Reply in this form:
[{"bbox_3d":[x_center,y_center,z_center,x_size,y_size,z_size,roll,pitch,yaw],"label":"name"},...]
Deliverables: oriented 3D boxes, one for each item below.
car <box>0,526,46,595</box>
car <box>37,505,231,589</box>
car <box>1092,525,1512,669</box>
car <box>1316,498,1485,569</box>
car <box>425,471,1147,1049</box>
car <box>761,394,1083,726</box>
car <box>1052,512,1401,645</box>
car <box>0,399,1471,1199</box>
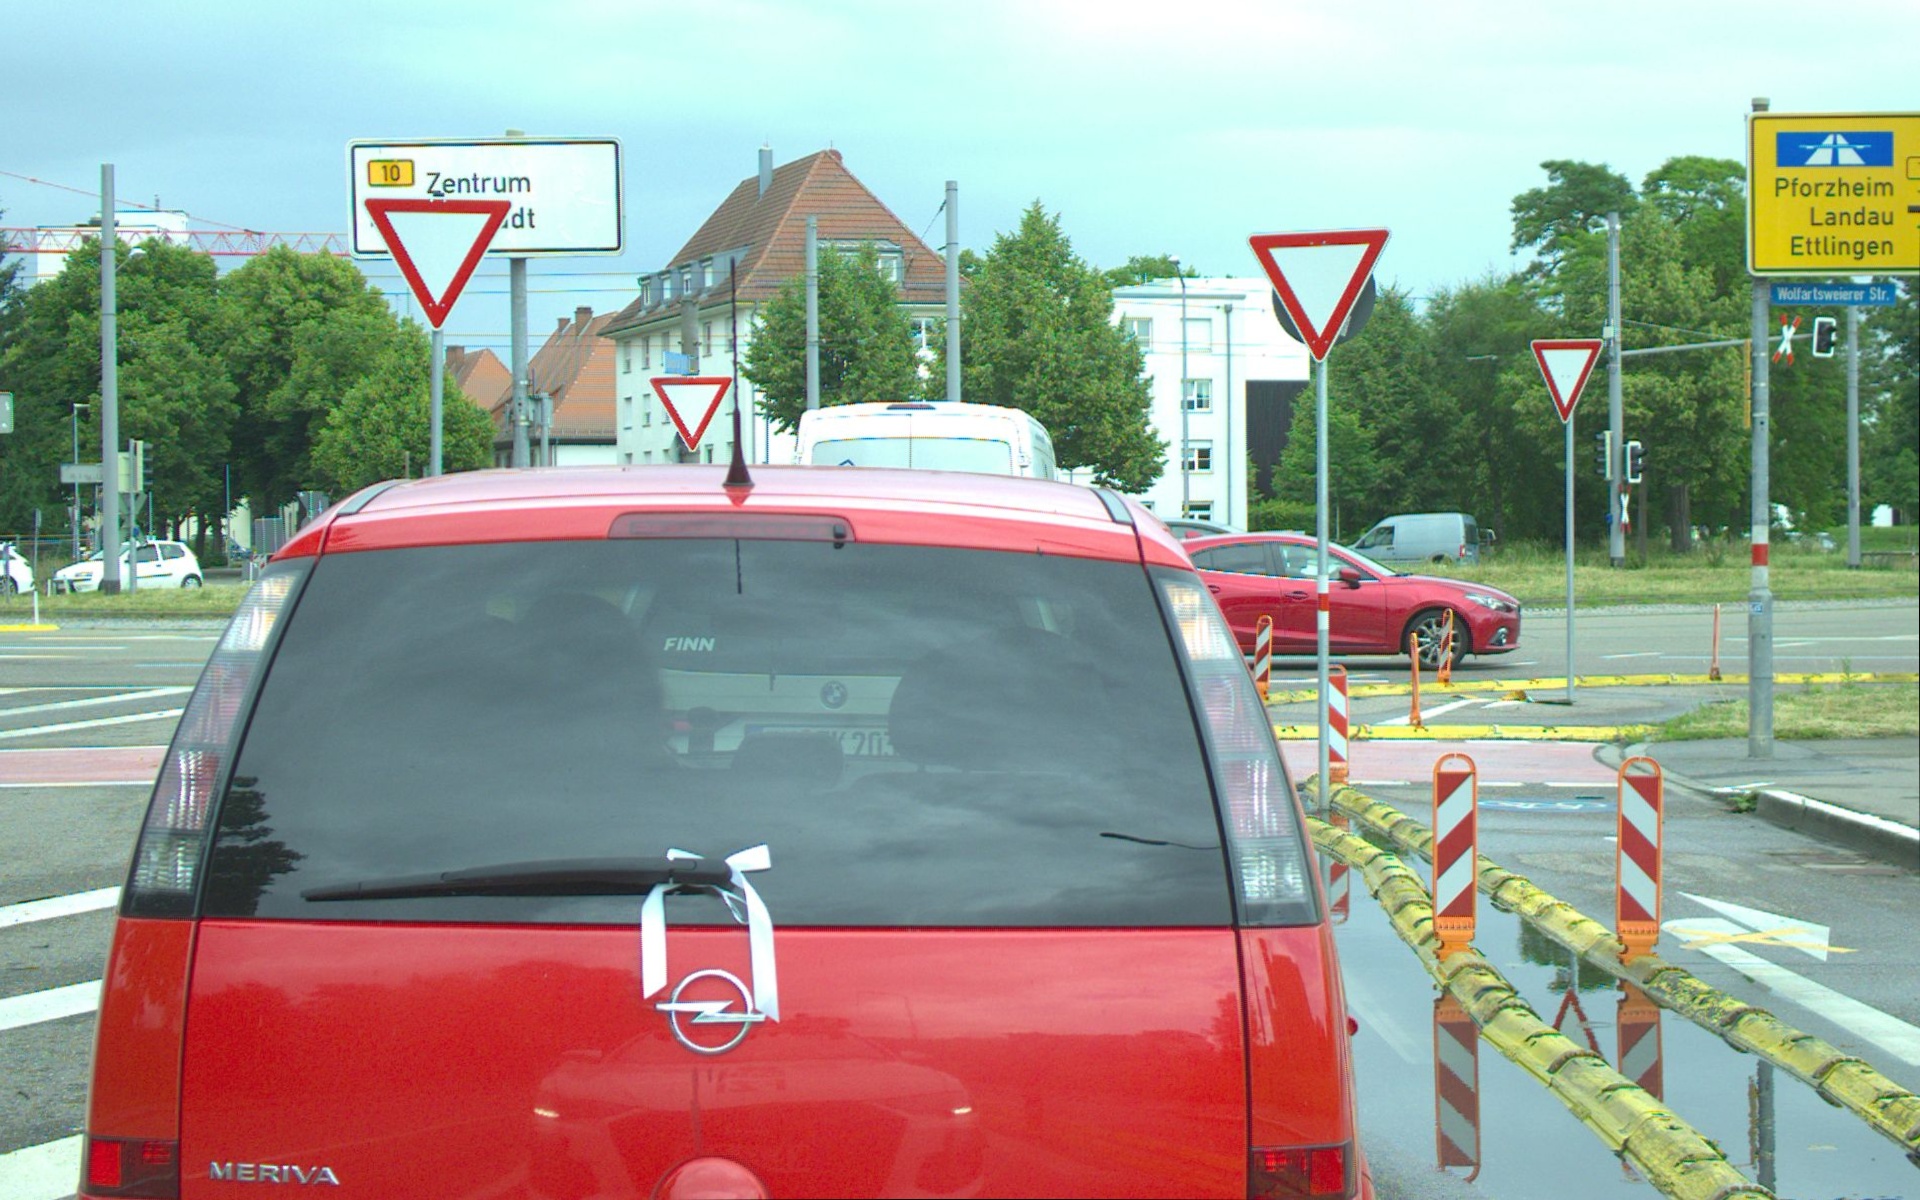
[{"bbox_3d":[-24.009,-0.901,80.625,1.998,1.629,4.664,0,2,40],"label":"car"},{"bbox_3d":[-20.457,-1.337,85.316,1.997,2.007,4.471,0,1,35],"label":"car"},{"bbox_3d":[3.692,-0.046,36.842,4.344,1.459,1.999,0,1,8],"label":"car"},{"bbox_3d":[12.829,-1.927,100.150,4.470,2.007,1.997,0,1,29],"label":"car"},{"bbox_3d":[-0.529,0.412,12.194,2.059,1.642,4.607,1,1,-1],"label":"car"},{"bbox_3d":[-0.210,-0.362,28.989,2.195,2.531,4.961,1,1,5],"label":"car"},{"bbox_3d":[3.193,-0.263,40.693,3.988,1.503,1.999,-1,1,8],"label":"car"},{"bbox_3d":[-0.322,0.572,5.496,1.673,1.635,3.627,1,1,-1],"label":"car"}]
